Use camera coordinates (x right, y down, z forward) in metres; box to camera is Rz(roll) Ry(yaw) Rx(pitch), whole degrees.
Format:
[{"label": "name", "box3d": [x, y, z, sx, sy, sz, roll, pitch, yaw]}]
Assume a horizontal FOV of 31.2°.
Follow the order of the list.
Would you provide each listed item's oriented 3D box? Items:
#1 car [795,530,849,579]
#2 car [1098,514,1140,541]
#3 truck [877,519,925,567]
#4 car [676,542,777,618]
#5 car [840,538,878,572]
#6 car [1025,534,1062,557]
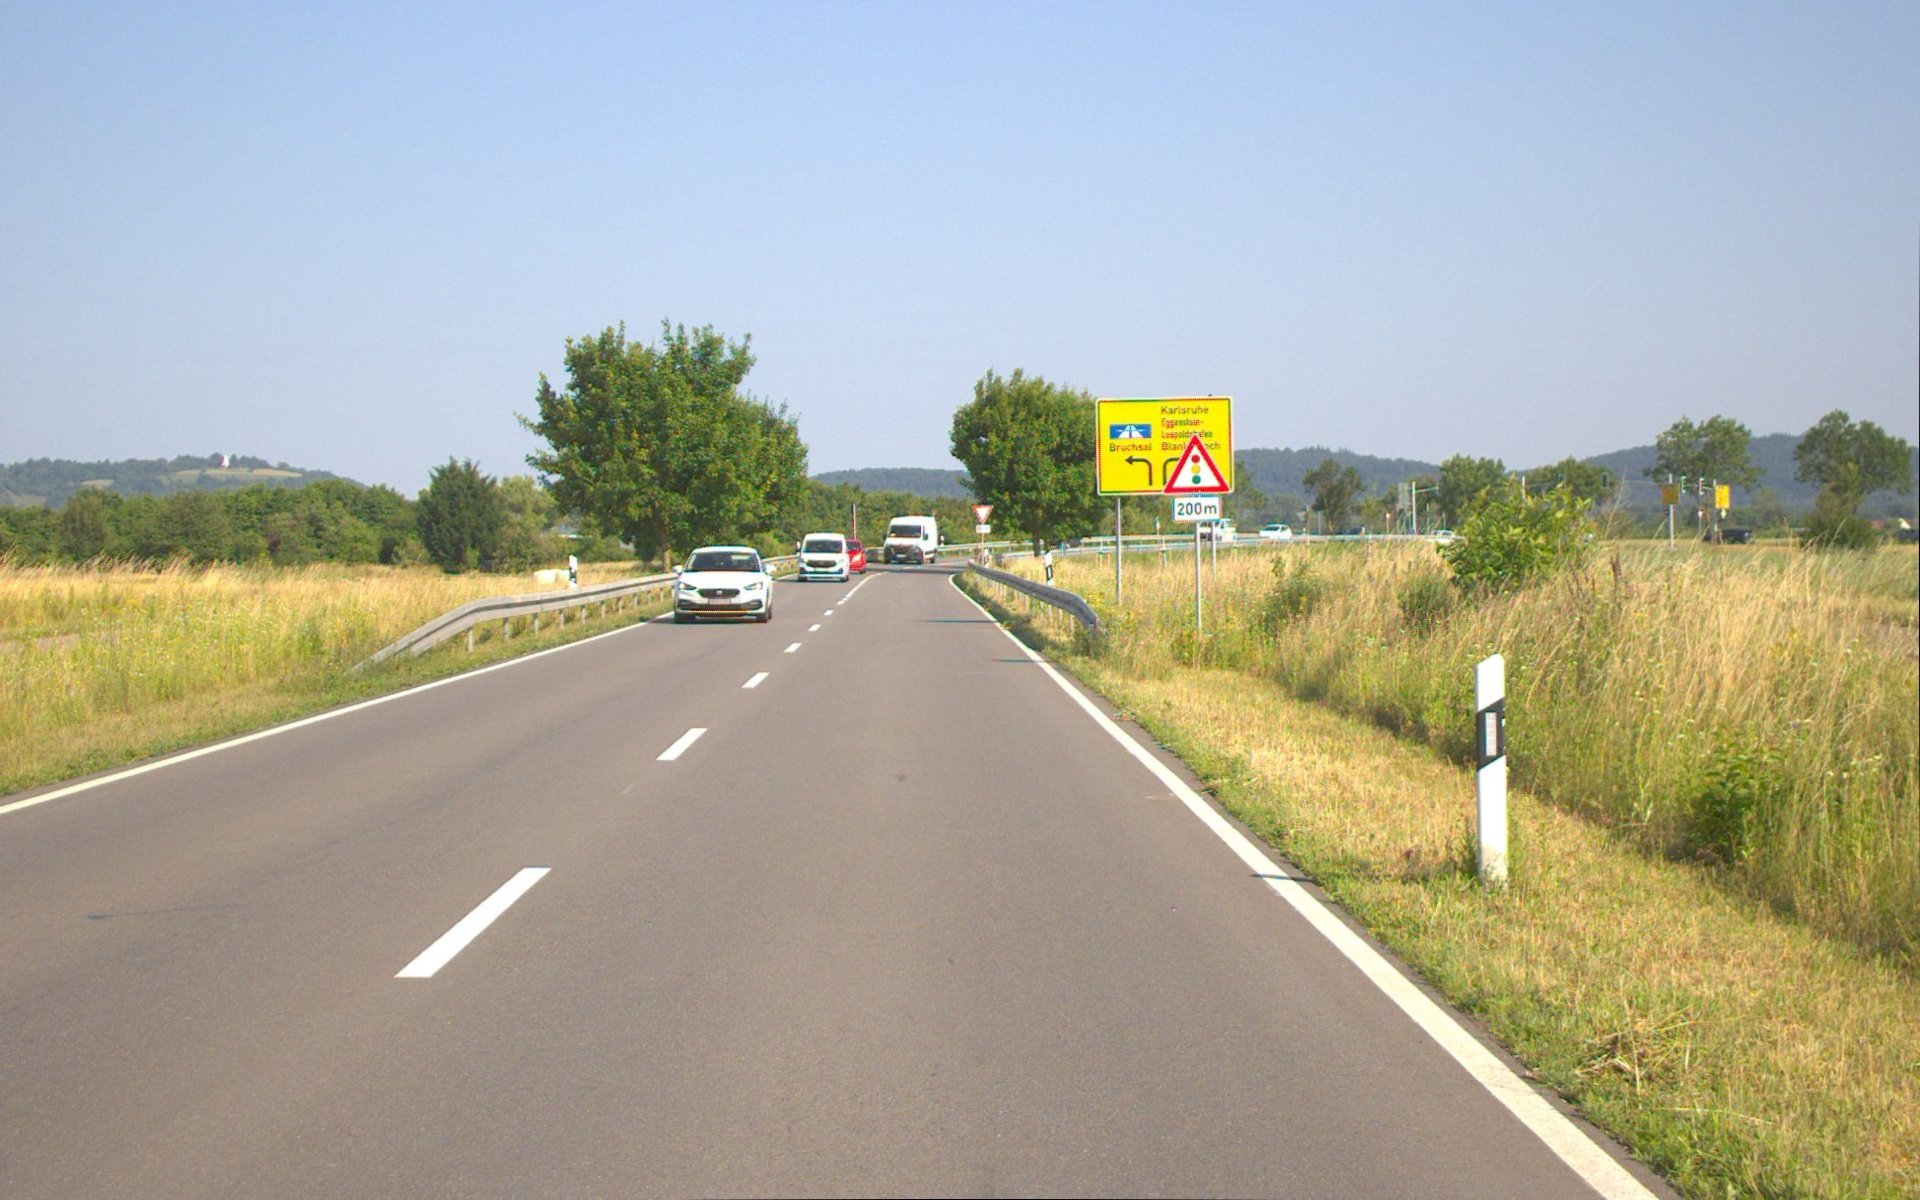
[{"label": "car", "box3d": [-5.160, -1.721, 128.749, 1.836, 1.780, 4.435, 0, 1, 0]}, {"label": "car", "box3d": [11.348, -5.153, 244.637, 1.995, 1.878, 4.588, 1, 1, 15]}, {"label": "truck", "box3d": [-3.112, -3.031, 182.255, 1.994, 2.511, 6.243, 0, 1, 4]}, {"label": "car", "box3d": [-4.494, -0.401, 66.699, 1.726, 1.432, 4.517, 0, 1, -1]}, {"label": "car", "box3d": [-4.434, -1.979, 151.500, 1.606, 1.483, 3.780, 0, 1, -1]}, {"label": "car", "box3d": [5.363, -3.512, 220.287, 1.645, 1.466, 3.805, 1, 1, 12]}]
